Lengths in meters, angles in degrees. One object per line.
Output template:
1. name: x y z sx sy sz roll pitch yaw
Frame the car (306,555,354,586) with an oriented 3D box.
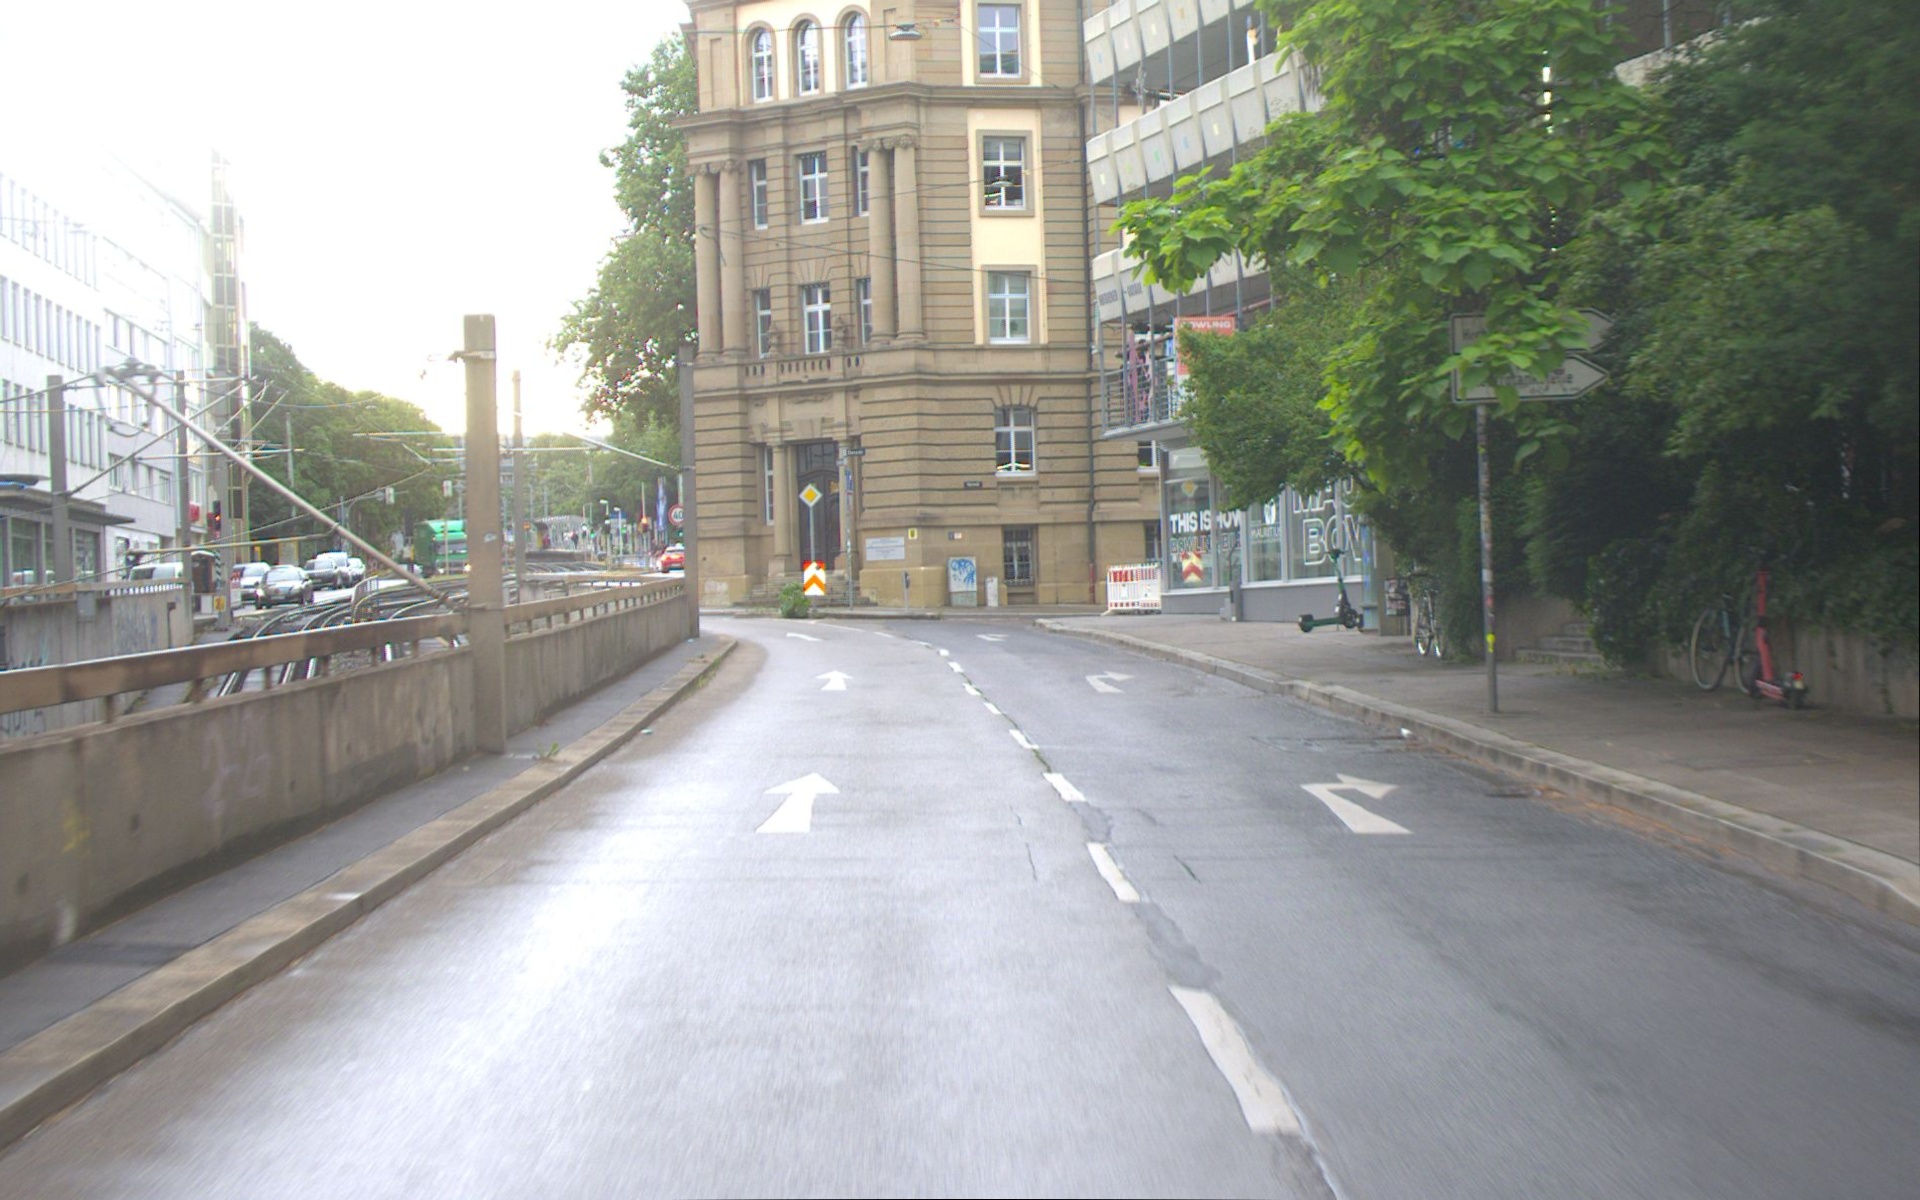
1. car: -30.727 -1.449 167.695 1.993 1.451 4.312 -1 1 -6

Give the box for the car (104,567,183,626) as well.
1. car: -27.579 -0.138 116.197 1.993 1.876 4.928 -1 1 -6

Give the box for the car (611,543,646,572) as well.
1. car: -19.366 -2.506 200.759 1.993 1.656 4.001 -1 1 -6

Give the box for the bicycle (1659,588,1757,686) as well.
1. bicycle: 6.251 0.302 28.779 0.500 0.751 1.211 -3 1 -1

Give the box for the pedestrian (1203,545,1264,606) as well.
1. pedestrian: 5.087 -0.454 63.962 0.752 1.119 1.247 -1 1 -15

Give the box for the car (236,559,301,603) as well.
1. car: -25.080 -0.701 124.732 1.993 1.522 3.663 -1 1 -6

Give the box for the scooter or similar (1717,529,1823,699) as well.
1. scooter or similar: 6.227 0.091 26.465 0.447 1.255 1.211 -3 1 -1

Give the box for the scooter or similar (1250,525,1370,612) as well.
1. scooter or similar: 5.418 -0.493 53.207 1.635 1.263 0.743 -4 2 -26
